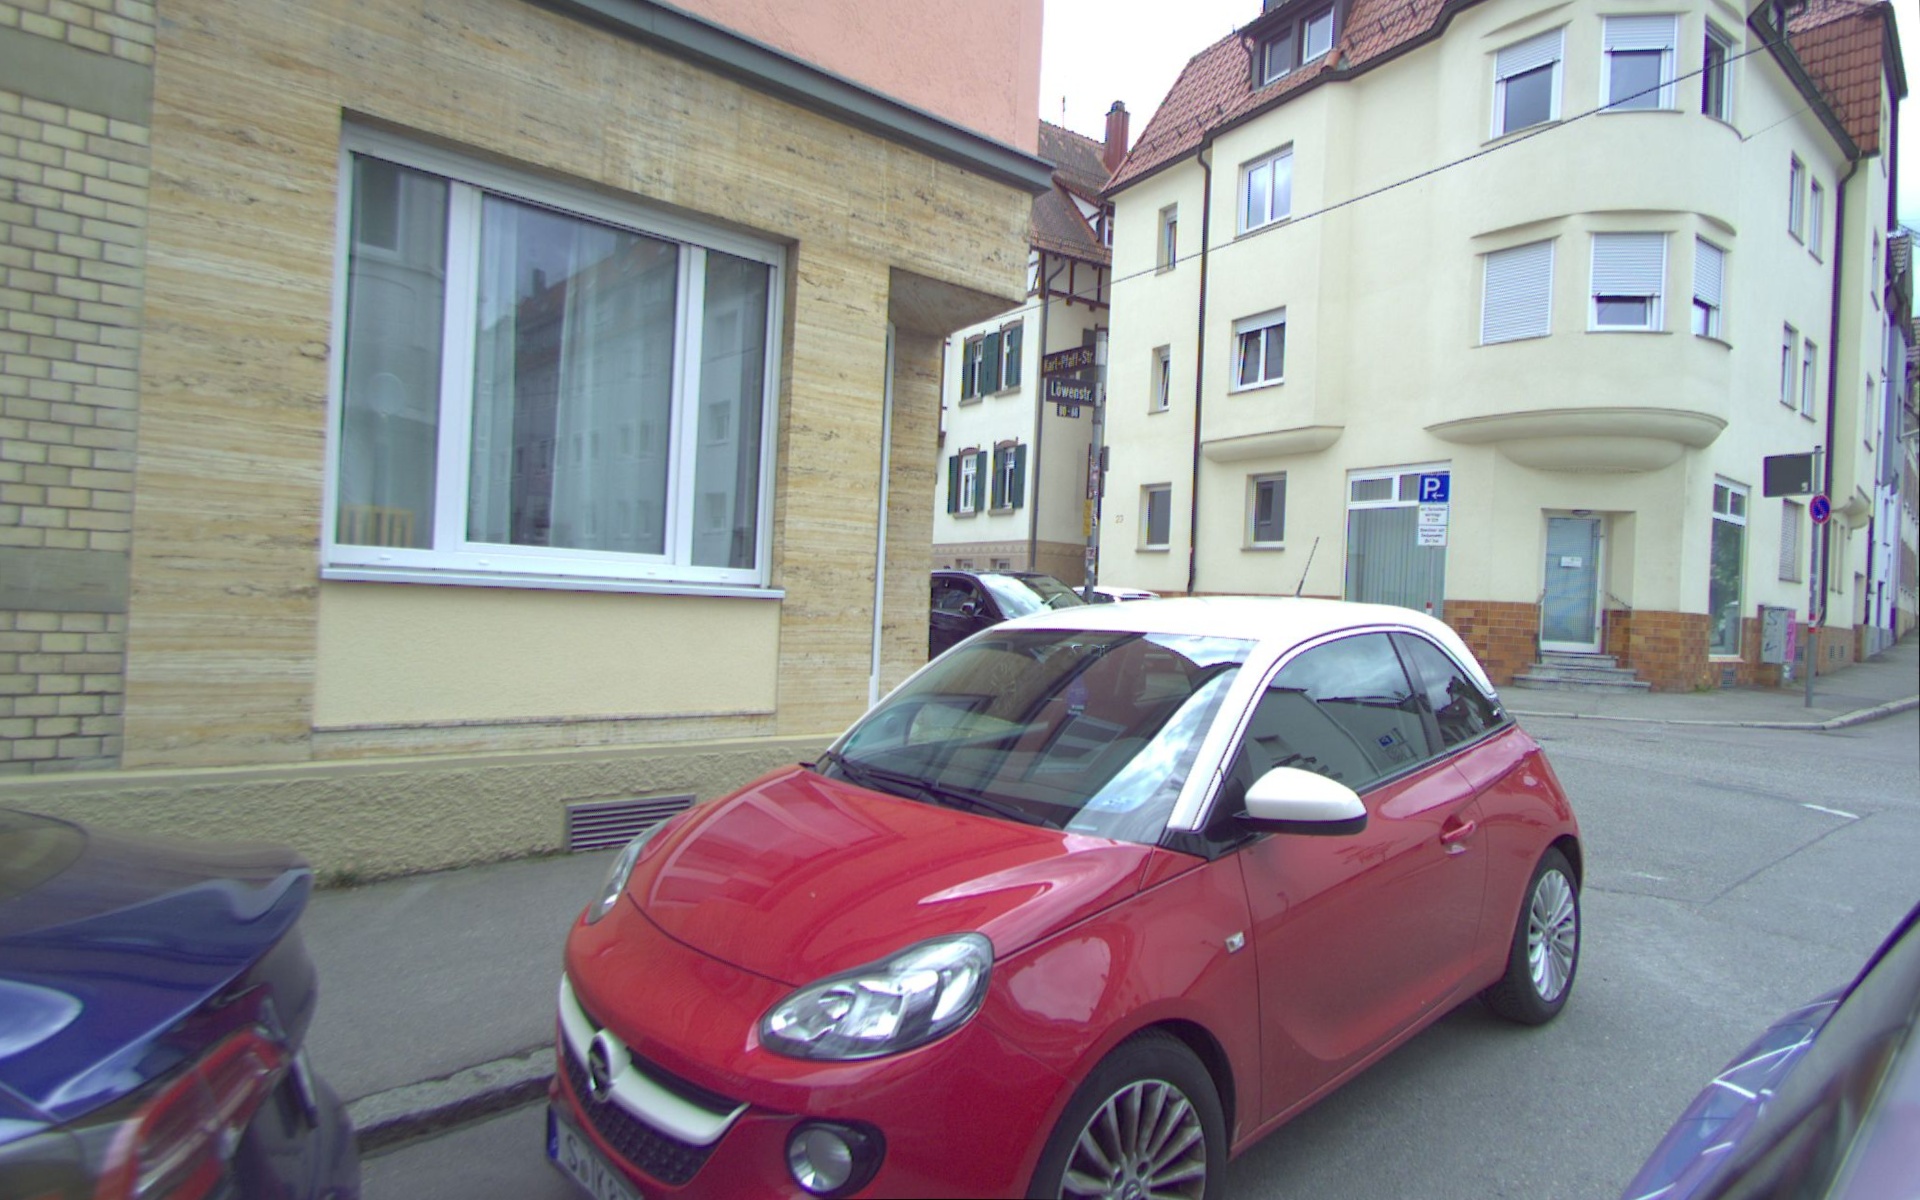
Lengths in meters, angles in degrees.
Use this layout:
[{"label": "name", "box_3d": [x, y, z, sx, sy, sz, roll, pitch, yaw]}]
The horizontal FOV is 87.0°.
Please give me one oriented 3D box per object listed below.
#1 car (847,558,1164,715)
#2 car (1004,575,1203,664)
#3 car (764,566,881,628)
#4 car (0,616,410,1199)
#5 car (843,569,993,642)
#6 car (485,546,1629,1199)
[{"label": "car", "box_3d": [0.372, 0.298, 12.362, 1.789, 1.562, 4.029, 0, 2, -34]}, {"label": "car", "box_3d": [2.615, 0.317, 19.291, 1.639, 1.452, 3.820, 3, 0, -32]}, {"label": "car", "box_3d": [-4.115, -0.123, 29.651, 1.722, 1.474, 4.376, 5, 0, -31]}, {"label": "car", "box_3d": [-2.747, 0.764, 0.409, 4.214, 1.421, 1.857, 0, 0, -38]}, {"label": "car", "box_3d": [-1.159, 0.083, 25.193, 1.722, 1.450, 4.375, 5, 0, -32]}, {"label": "car", "box_3d": [0.592, 0.632, 3.273, 3.562, 1.497, 1.671, 0, 2, -40]}]
